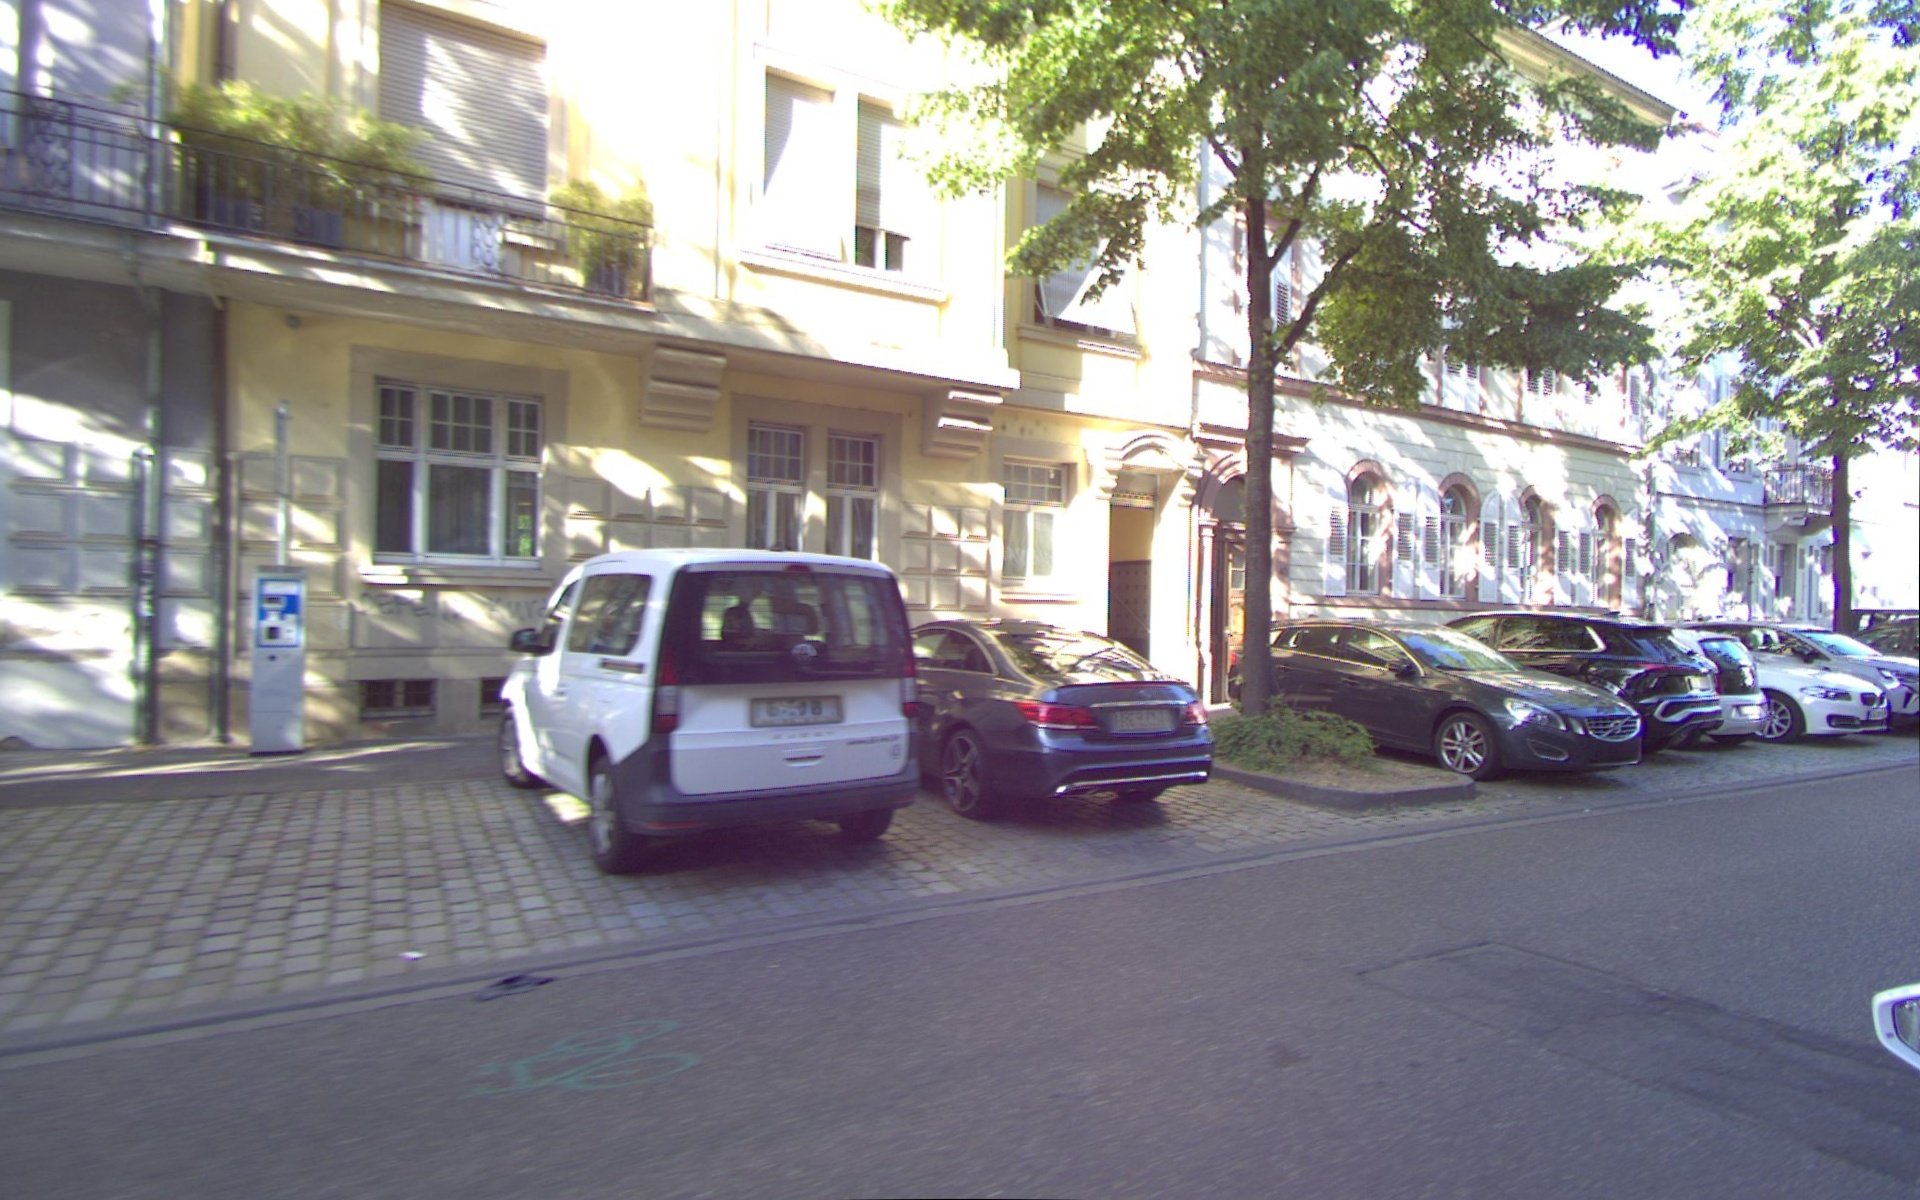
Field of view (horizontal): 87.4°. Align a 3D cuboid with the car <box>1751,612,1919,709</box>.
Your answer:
[{"bbox_3d":[18.649,1.173,19.784,1.892,1.795,4.448,1,-1,-28],"label":"car"}]

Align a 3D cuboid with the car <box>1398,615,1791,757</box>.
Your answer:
[{"bbox_3d":[8.555,1.047,13.992,1.787,1.603,4.320,1,-1,-29],"label":"car"}]

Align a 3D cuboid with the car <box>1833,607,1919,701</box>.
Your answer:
[{"bbox_3d":[21.379,1.150,20.790,1.892,1.976,4.662,1,-1,-28],"label":"car"}]

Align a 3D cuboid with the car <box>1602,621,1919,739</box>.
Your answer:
[{"bbox_3d":[13.113,1.163,16.094,1.891,1.561,4.452,1,-1,-26],"label":"car"}]

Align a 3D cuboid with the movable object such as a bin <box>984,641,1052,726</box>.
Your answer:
[{"bbox_3d":[0.781,1.110,13.570,0.676,1.090,0.638,1,-1,-29],"label":"movable object such as a bin"}]

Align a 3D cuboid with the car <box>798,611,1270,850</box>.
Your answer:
[{"bbox_3d":[0.318,0.854,8.607,1.895,1.458,4.317,1,-1,-31],"label":"car"}]

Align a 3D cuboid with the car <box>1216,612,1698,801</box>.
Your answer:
[{"bbox_3d":[5.027,0.943,10.902,1.892,1.561,4.449,1,-1,-27],"label":"car"}]

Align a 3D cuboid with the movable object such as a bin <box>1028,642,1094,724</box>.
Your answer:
[{"bbox_3d":[1.394,1.134,13.908,0.676,1.090,0.638,1,-1,-29],"label":"movable object such as a bin"}]

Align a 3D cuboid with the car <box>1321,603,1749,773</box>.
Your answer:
[{"bbox_3d":[6.905,0.924,12.587,1.894,1.732,4.320,1,-1,-29],"label":"car"}]

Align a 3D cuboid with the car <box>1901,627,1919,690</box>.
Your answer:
[{"bbox_3d":[24.266,1.392,22.320,1.663,1.478,4.625,1,-1,-29],"label":"car"}]

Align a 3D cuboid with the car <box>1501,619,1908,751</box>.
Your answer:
[{"bbox_3d":[10.671,1.111,14.787,1.894,1.561,4.445,1,-1,-30],"label":"car"}]

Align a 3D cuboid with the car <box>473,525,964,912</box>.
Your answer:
[{"bbox_3d":[-2.007,0.591,7.146,1.898,1.858,4.309,1,-1,-36],"label":"car"}]
